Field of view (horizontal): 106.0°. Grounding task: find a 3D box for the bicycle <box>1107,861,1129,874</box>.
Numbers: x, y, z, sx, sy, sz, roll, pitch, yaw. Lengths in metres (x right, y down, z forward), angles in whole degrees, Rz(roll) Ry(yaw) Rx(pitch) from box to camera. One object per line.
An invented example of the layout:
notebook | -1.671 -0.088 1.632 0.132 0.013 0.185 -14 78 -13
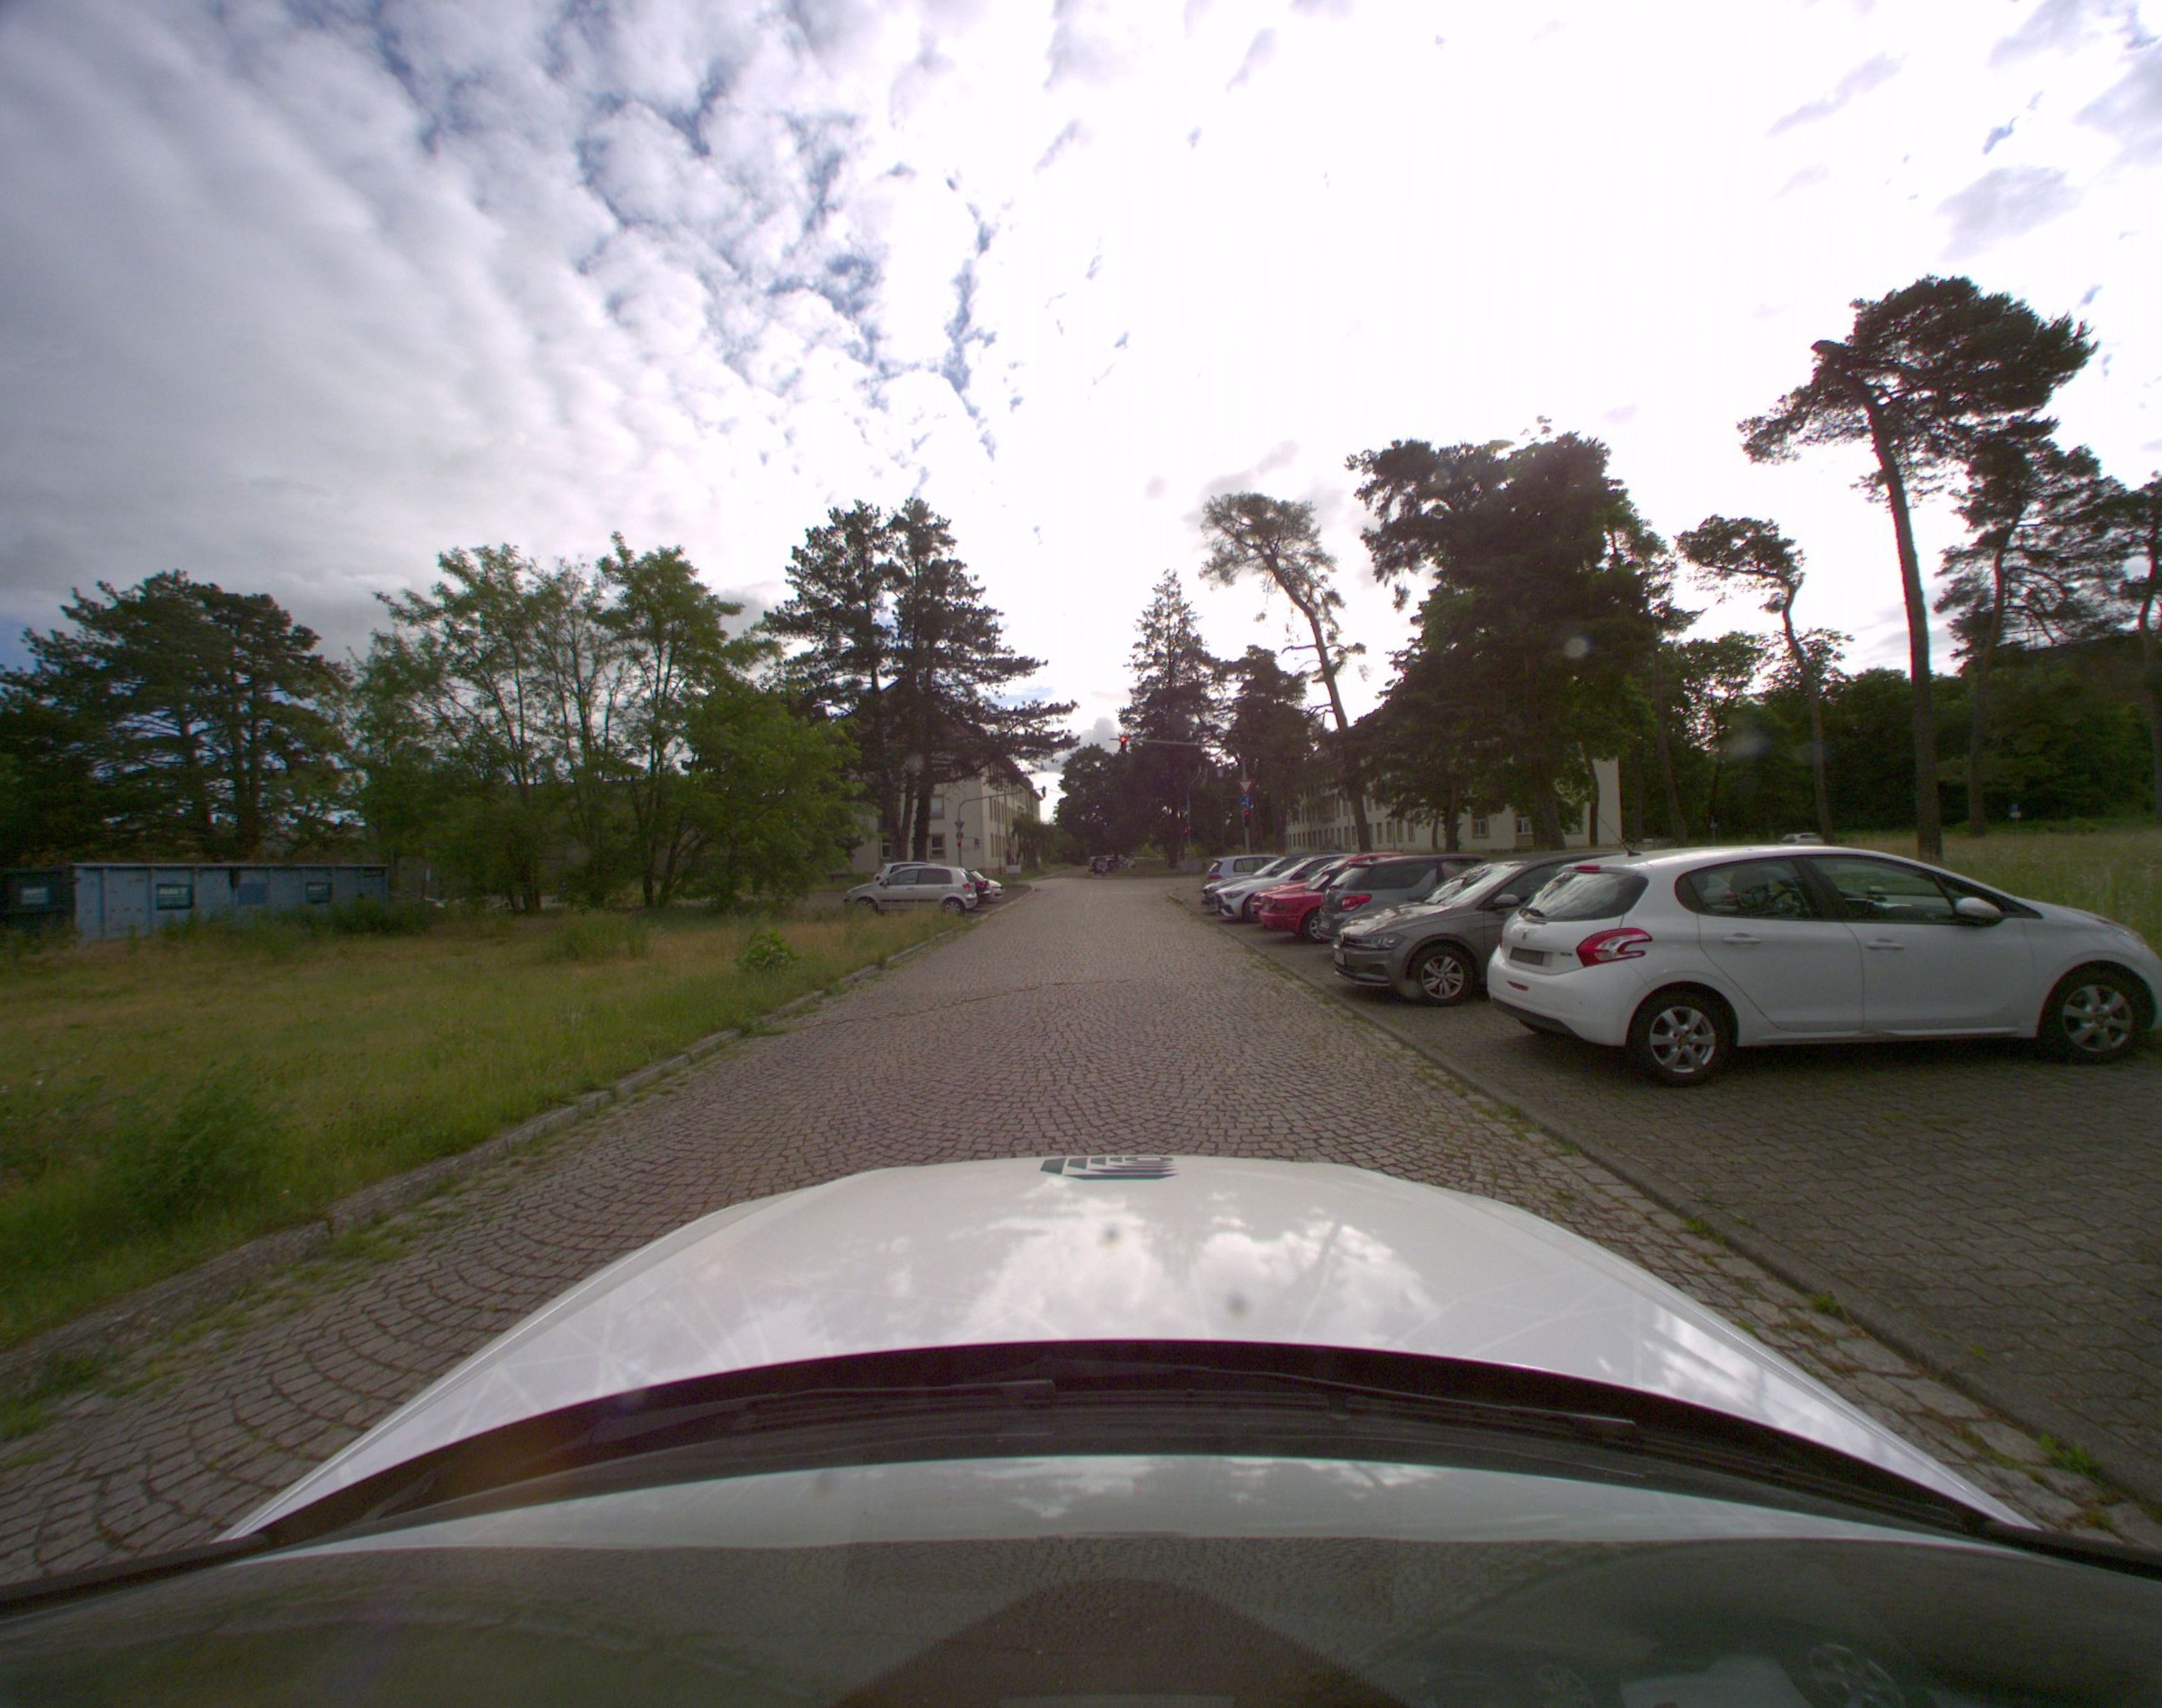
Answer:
bicycle | 3.469 1.274 76.611 1.967 1.069 0.582 -2 -1 -29

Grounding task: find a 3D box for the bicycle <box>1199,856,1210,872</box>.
bicycle | 9.245 0.752 60.948 0.584 1.106 1.962 -2 0 1

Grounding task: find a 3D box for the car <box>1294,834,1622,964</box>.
car | 5.261 0.605 11.737 3.850 1.472 1.758 -4 0 0

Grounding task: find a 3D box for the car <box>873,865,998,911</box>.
car | -4.617 1.073 26.193 3.736 1.429 1.581 1 -1 -2

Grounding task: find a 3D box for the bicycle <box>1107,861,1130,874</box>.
bicycle | 3.395 1.199 73.145 1.952 1.132 0.587 -2 -1 -6

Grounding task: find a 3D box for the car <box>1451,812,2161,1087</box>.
car | 5.064 0.604 5.963 3.847 1.472 1.759 -4 0 2

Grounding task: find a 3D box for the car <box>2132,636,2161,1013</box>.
car | 4.576 0.371 0.660 4.792 1.945 2.003 -4 0 0

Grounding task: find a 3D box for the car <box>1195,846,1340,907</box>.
car | 5.481 0.646 24.256 3.911 1.477 1.643 -4 0 2

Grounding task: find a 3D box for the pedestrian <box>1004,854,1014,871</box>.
pedestrian | -7.850 0.958 89.058 0.779 1.837 0.734 -2 -1 -30

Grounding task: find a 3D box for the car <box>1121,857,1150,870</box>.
car | 6.312 1.122 95.076 3.223 1.416 1.724 -2 -1 -2

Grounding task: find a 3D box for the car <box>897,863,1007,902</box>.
car | -4.948 1.082 31.522 3.934 1.421 1.650 0 -1 0

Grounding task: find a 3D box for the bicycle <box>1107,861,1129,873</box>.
bicycle | 3.529 1.270 77.965 1.964 1.069 0.583 -2 -1 -24

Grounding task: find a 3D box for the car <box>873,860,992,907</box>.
car | -5.215 1.030 28.983 3.937 1.563 1.649 1 -1 -2

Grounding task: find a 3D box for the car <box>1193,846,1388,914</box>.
car | 5.495 0.679 21.803 4.668 1.416 1.870 -4 0 -1

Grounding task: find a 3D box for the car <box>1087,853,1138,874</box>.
car | 3.484 1.078 91.236 5.357 1.925 2.019 -3 0 -8

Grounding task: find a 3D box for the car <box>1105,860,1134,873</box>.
car | 4.137 1.303 87.843 3.000 1.268 1.533 -2 -1 -5

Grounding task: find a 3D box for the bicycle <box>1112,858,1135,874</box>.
bicycle | 3.907 1.135 74.603 1.952 1.384 0.587 -2 -1 -6

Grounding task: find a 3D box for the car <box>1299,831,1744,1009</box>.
car | 4.588 0.641 8.874 3.853 1.472 1.756 -4 0 -3

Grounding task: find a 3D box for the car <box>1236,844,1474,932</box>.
car | 5.520 0.669 16.846 4.247 1.416 1.871 -4 0 1

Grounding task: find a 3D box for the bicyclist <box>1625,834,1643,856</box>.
bicyclist | 36.086 -0.576 53.151 0.744 1.410 0.607 -2 -1 12

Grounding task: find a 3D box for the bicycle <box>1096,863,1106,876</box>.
bicycle | 1.714 1.333 69.970 0.602 1.132 1.958 -2 0 -4

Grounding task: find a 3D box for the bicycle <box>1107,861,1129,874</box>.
bicycle | 3.349 1.229 73.778 1.952 1.117 0.587 -2 -1 -6

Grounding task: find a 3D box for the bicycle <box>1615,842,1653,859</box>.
bicycle | 36.106 -0.228 53.156 1.942 1.024 0.607 -2 -1 11

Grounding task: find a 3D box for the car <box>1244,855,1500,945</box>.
car | 5.012 0.767 14.407 3.850 1.236 1.758 -4 0 0

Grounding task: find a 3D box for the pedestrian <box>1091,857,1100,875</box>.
pedestrian | 1.349 1.121 76.407 0.736 1.618 0.776 -2 -1 -1

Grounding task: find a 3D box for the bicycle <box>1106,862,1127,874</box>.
bicycle | 3.283 1.268 75.263 1.967 1.069 0.582 -2 -1 -29

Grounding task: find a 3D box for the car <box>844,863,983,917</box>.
car | -4.783 1.026 23.597 3.693 1.479 1.581 1 -1 -2

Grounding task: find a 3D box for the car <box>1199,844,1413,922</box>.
car | 5.207 0.648 19.120 4.419 1.416 1.866 -4 0 -8

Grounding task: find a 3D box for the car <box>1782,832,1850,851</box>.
car | 59.459 -1.004 65.903 3.930 1.421 1.652 0 -1 4
